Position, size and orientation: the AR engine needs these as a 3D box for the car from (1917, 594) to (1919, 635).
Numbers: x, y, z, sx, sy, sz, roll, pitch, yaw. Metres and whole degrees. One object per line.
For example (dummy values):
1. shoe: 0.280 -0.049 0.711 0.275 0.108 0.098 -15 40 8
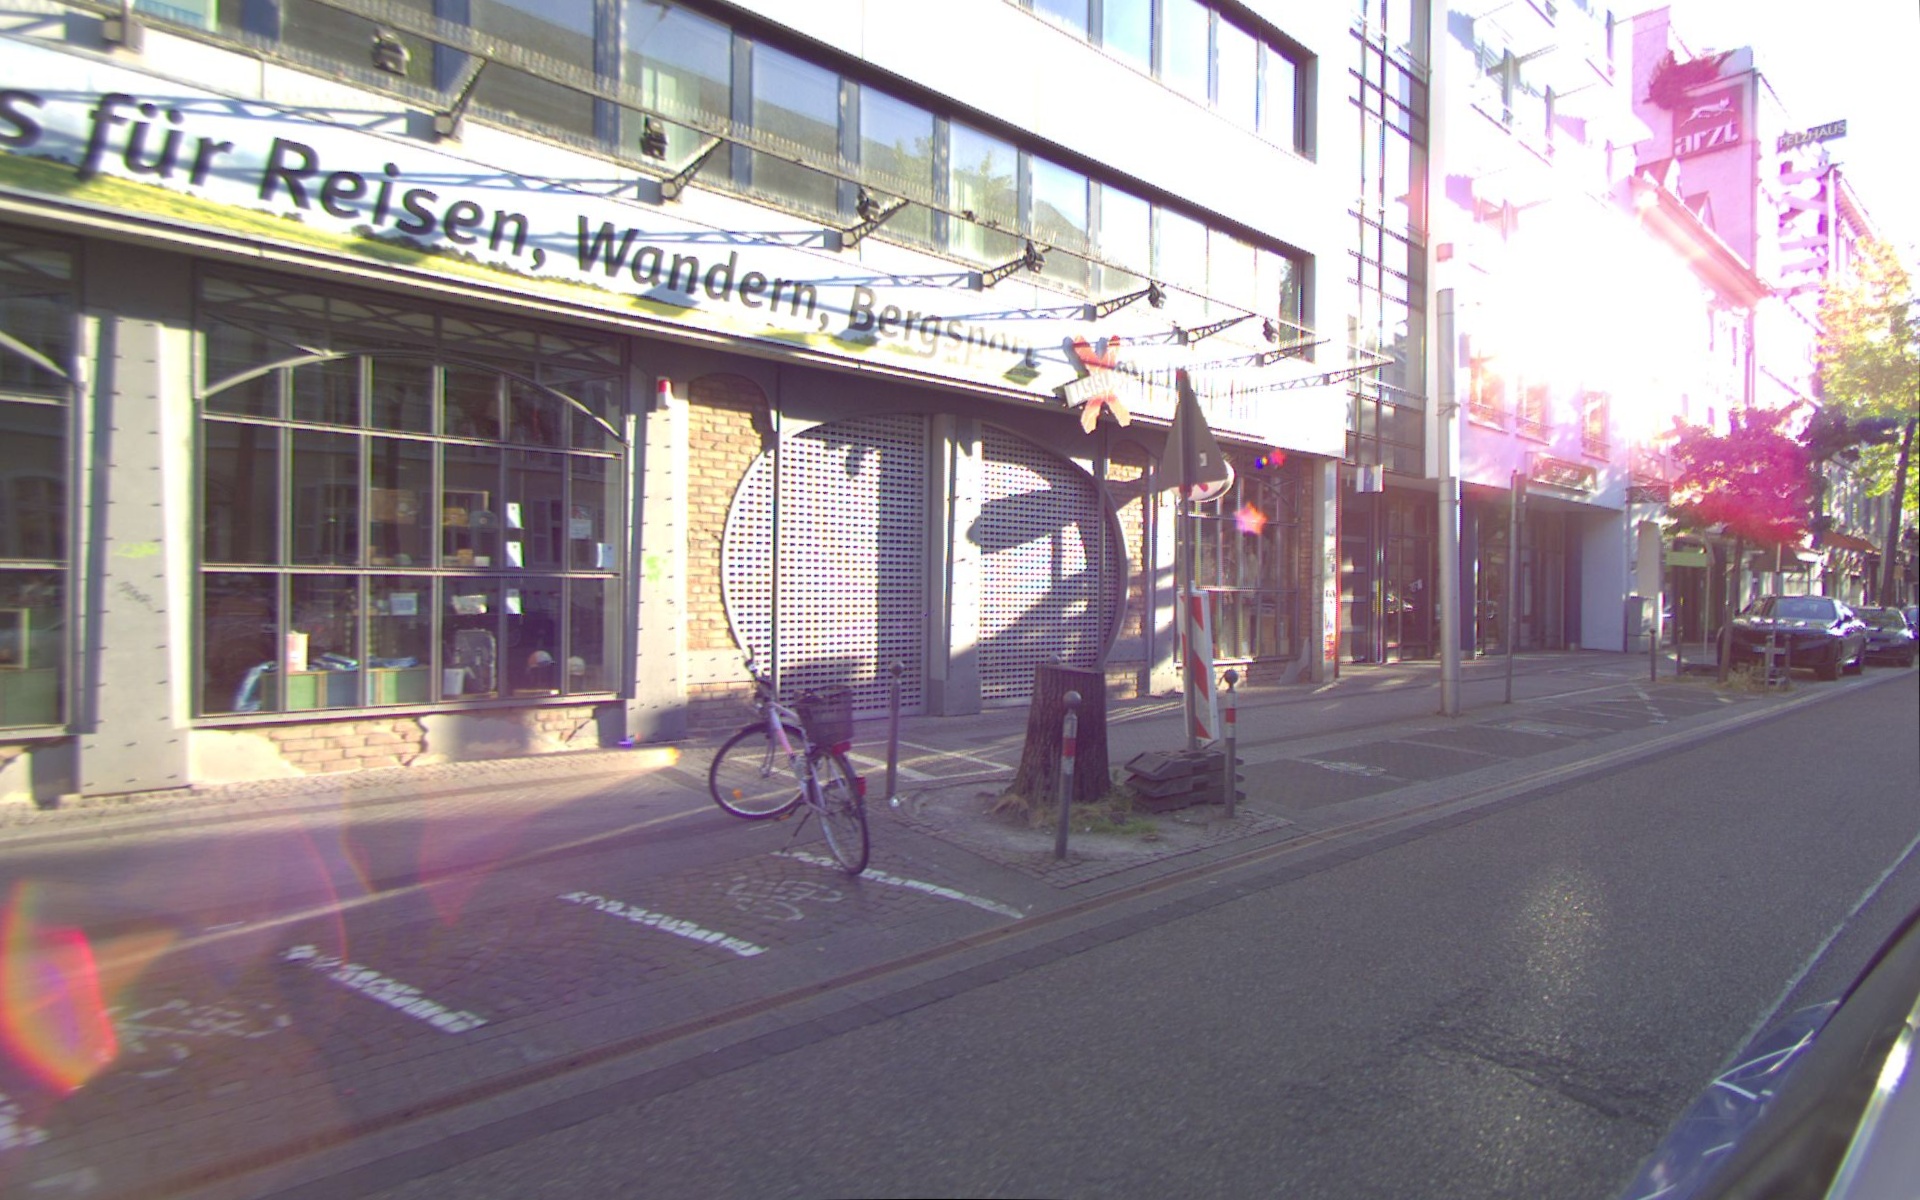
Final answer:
1. car: 37.754 0.589 38.197 4.211 1.529 1.869 0 3 -40

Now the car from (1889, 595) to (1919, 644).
1. car: 31.655 0.601 32.773 4.210 1.530 1.769 0 0 -40

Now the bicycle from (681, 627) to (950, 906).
1. bicycle: -0.886 0.797 5.665 0.824 1.148 1.820 -1 3 -32

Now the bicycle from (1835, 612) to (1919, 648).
1. bicycle: 27.323 0.876 29.845 0.603 1.000 2.249 0 0 -38

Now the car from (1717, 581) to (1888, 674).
1. car: 18.115 0.509 21.685 4.788 1.709 1.984 0 3 -41

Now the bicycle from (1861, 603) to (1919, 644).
1. bicycle: 28.949 0.717 30.718 0.737 1.203 2.325 0 0 -38

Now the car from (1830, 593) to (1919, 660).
1. car: 24.119 0.623 26.526 1.864 1.529 4.181 4 3 41
